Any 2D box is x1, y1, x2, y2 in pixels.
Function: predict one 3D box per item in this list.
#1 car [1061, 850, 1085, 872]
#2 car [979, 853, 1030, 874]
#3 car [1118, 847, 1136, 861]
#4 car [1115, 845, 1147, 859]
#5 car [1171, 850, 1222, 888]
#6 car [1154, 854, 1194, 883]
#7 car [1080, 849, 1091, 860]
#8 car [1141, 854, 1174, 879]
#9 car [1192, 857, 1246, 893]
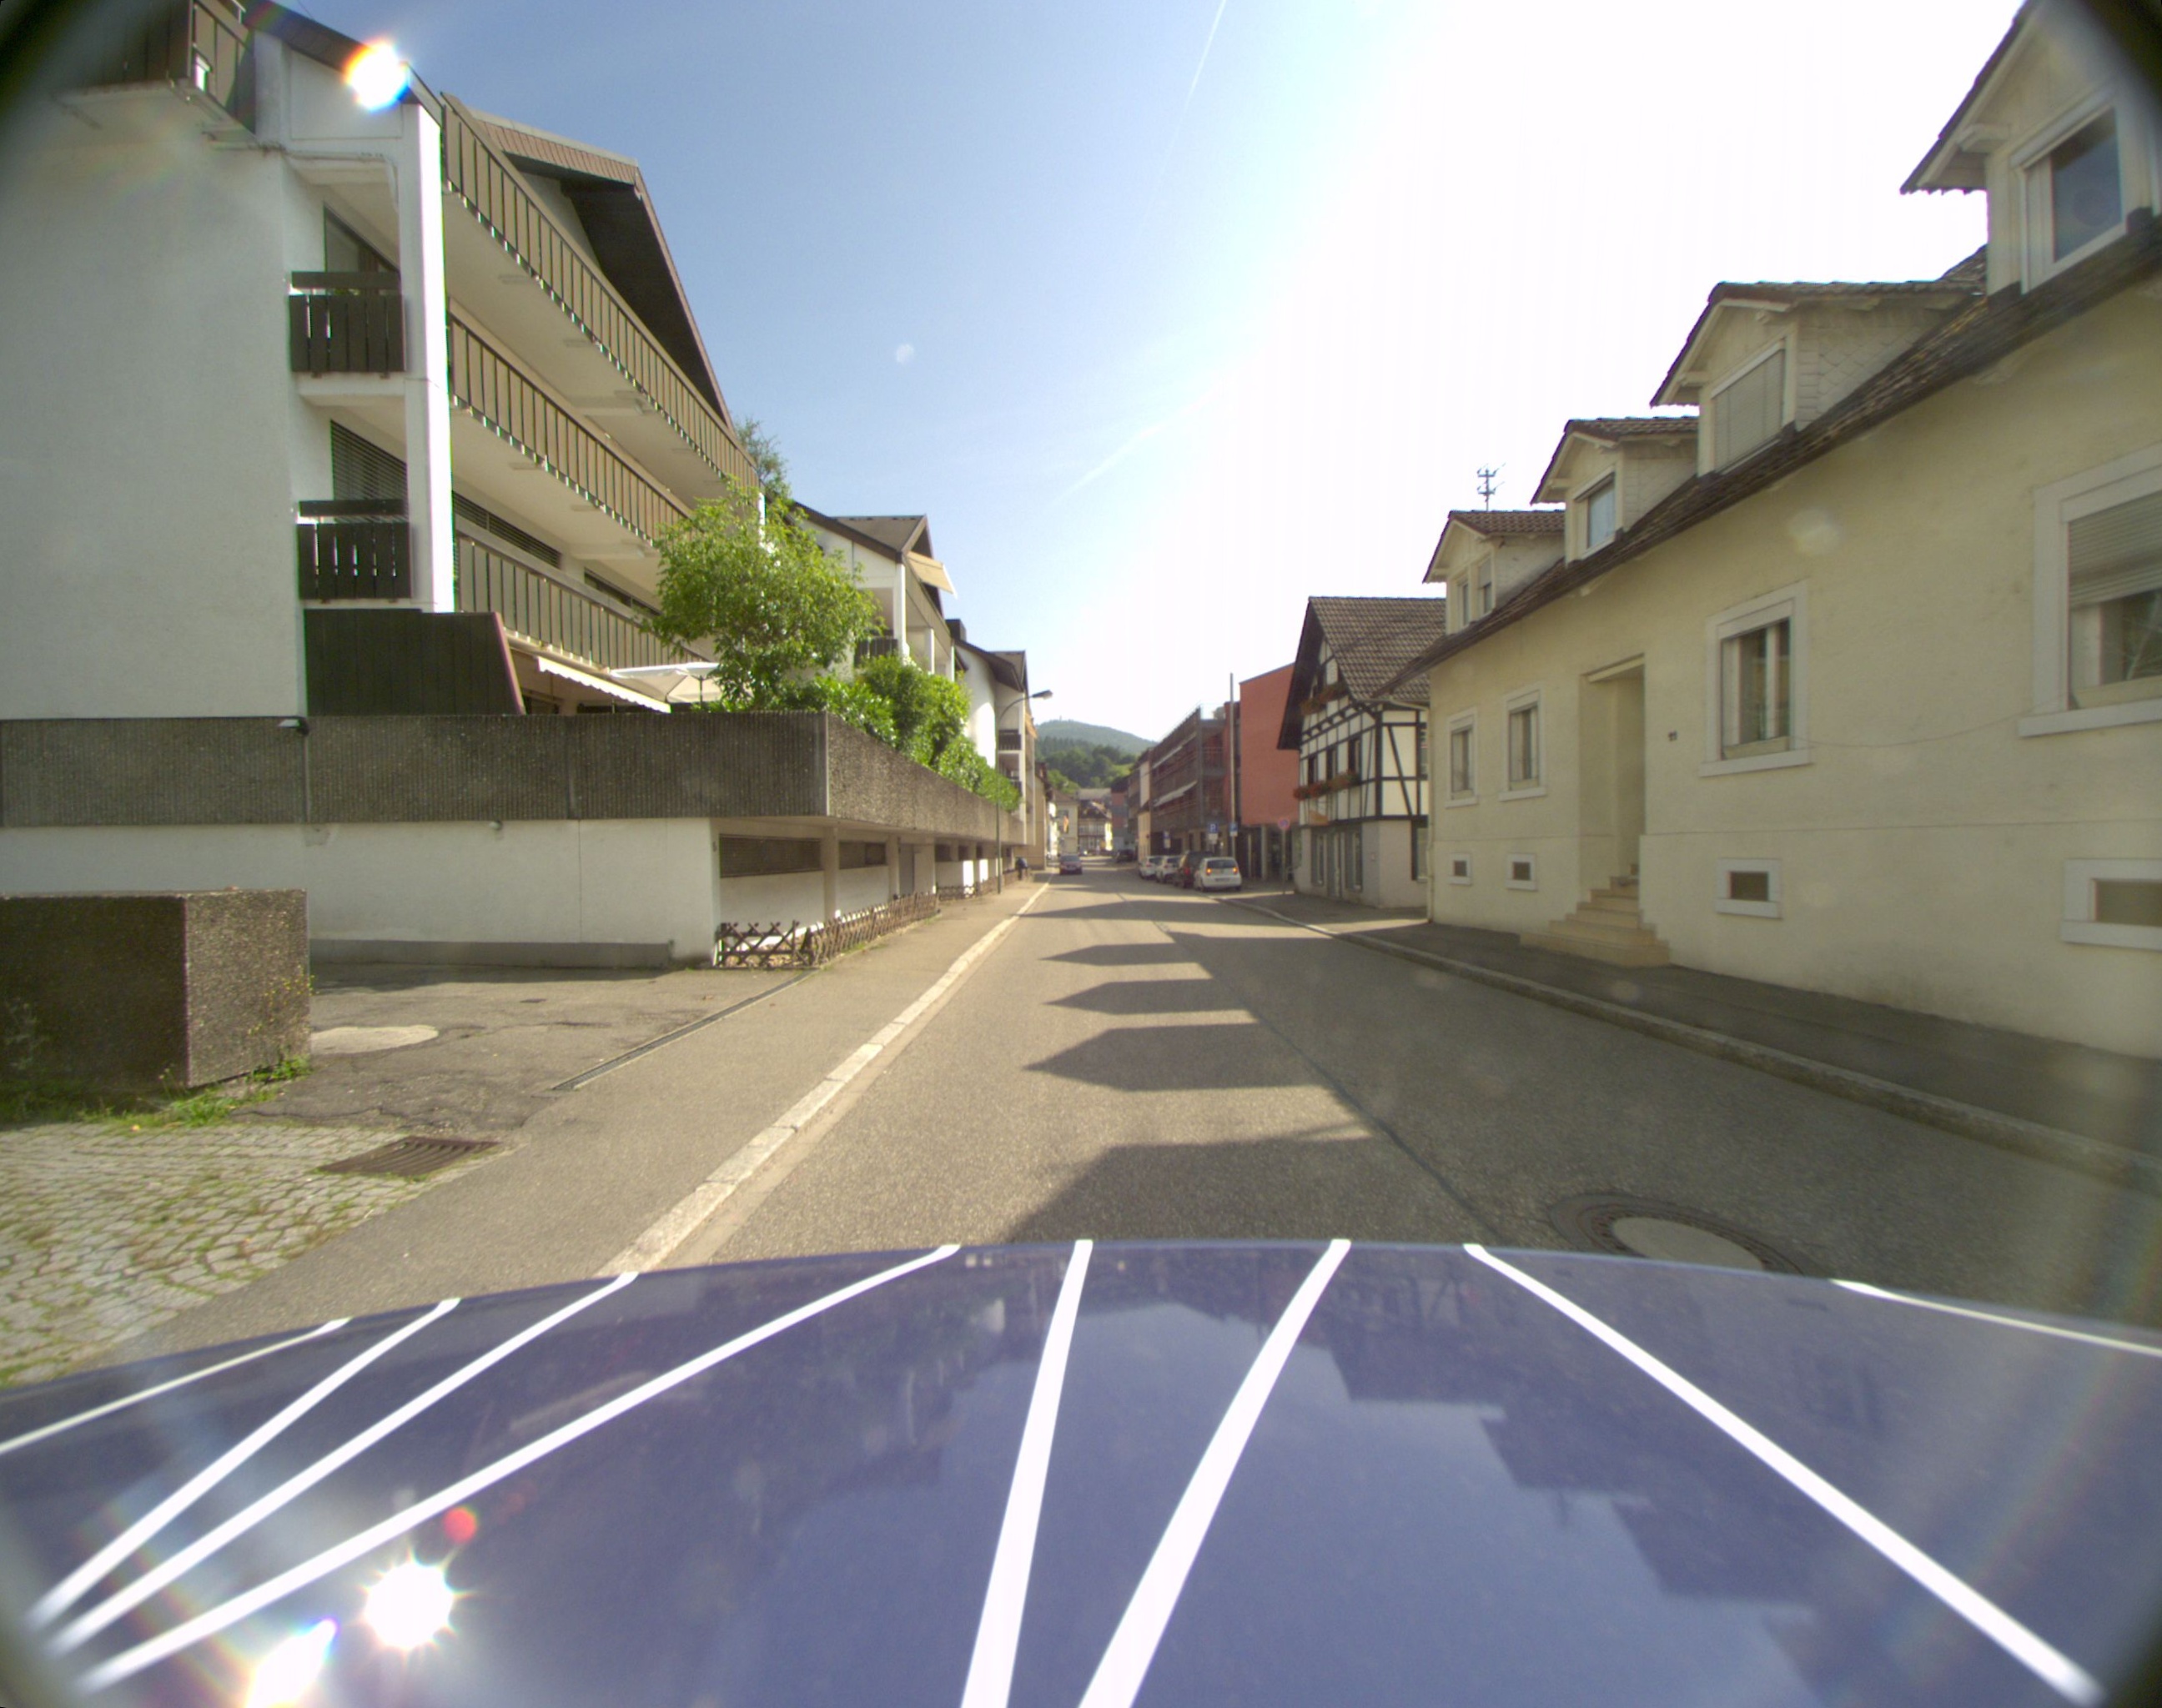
[{"bbox_3d":[-0.698,0.552,60.386,1.822,1.652,3.999,0,0,-2],"label":"car"},{"bbox_3d":[-6.049,0.749,60.501,3.838,1.470,1.700,-2,0,-3],"label":"car"},{"bbox_3d":[5.514,0.027,92.390,1.787,1.566,3.888,-3,1,-1],"label":"car"},{"bbox_3d":[6.626,-0.254,100.727,4.000,1.673,1.834,0,-1,-9],"label":"car"},{"bbox_3d":[5.733,0.687,38.191,1.725,1.786,4.268,-1,0,-3],"label":"car"},{"bbox_3d":[5.354,0.826,44.109,1.679,1.580,3.948,-1,0,-2],"label":"car"},{"bbox_3d":[0.869,0.149,144.613,1.999,2.002,3.999,-2,1,-2],"label":"car"},{"bbox_3d":[5.073,0.820,50.750,1.678,1.546,3.764,-1,0,-2],"label":"car"},{"bbox_3d":[5.952,0.889,33.157,1.670,1.423,3.569,-2,0,0],"label":"car"}]
